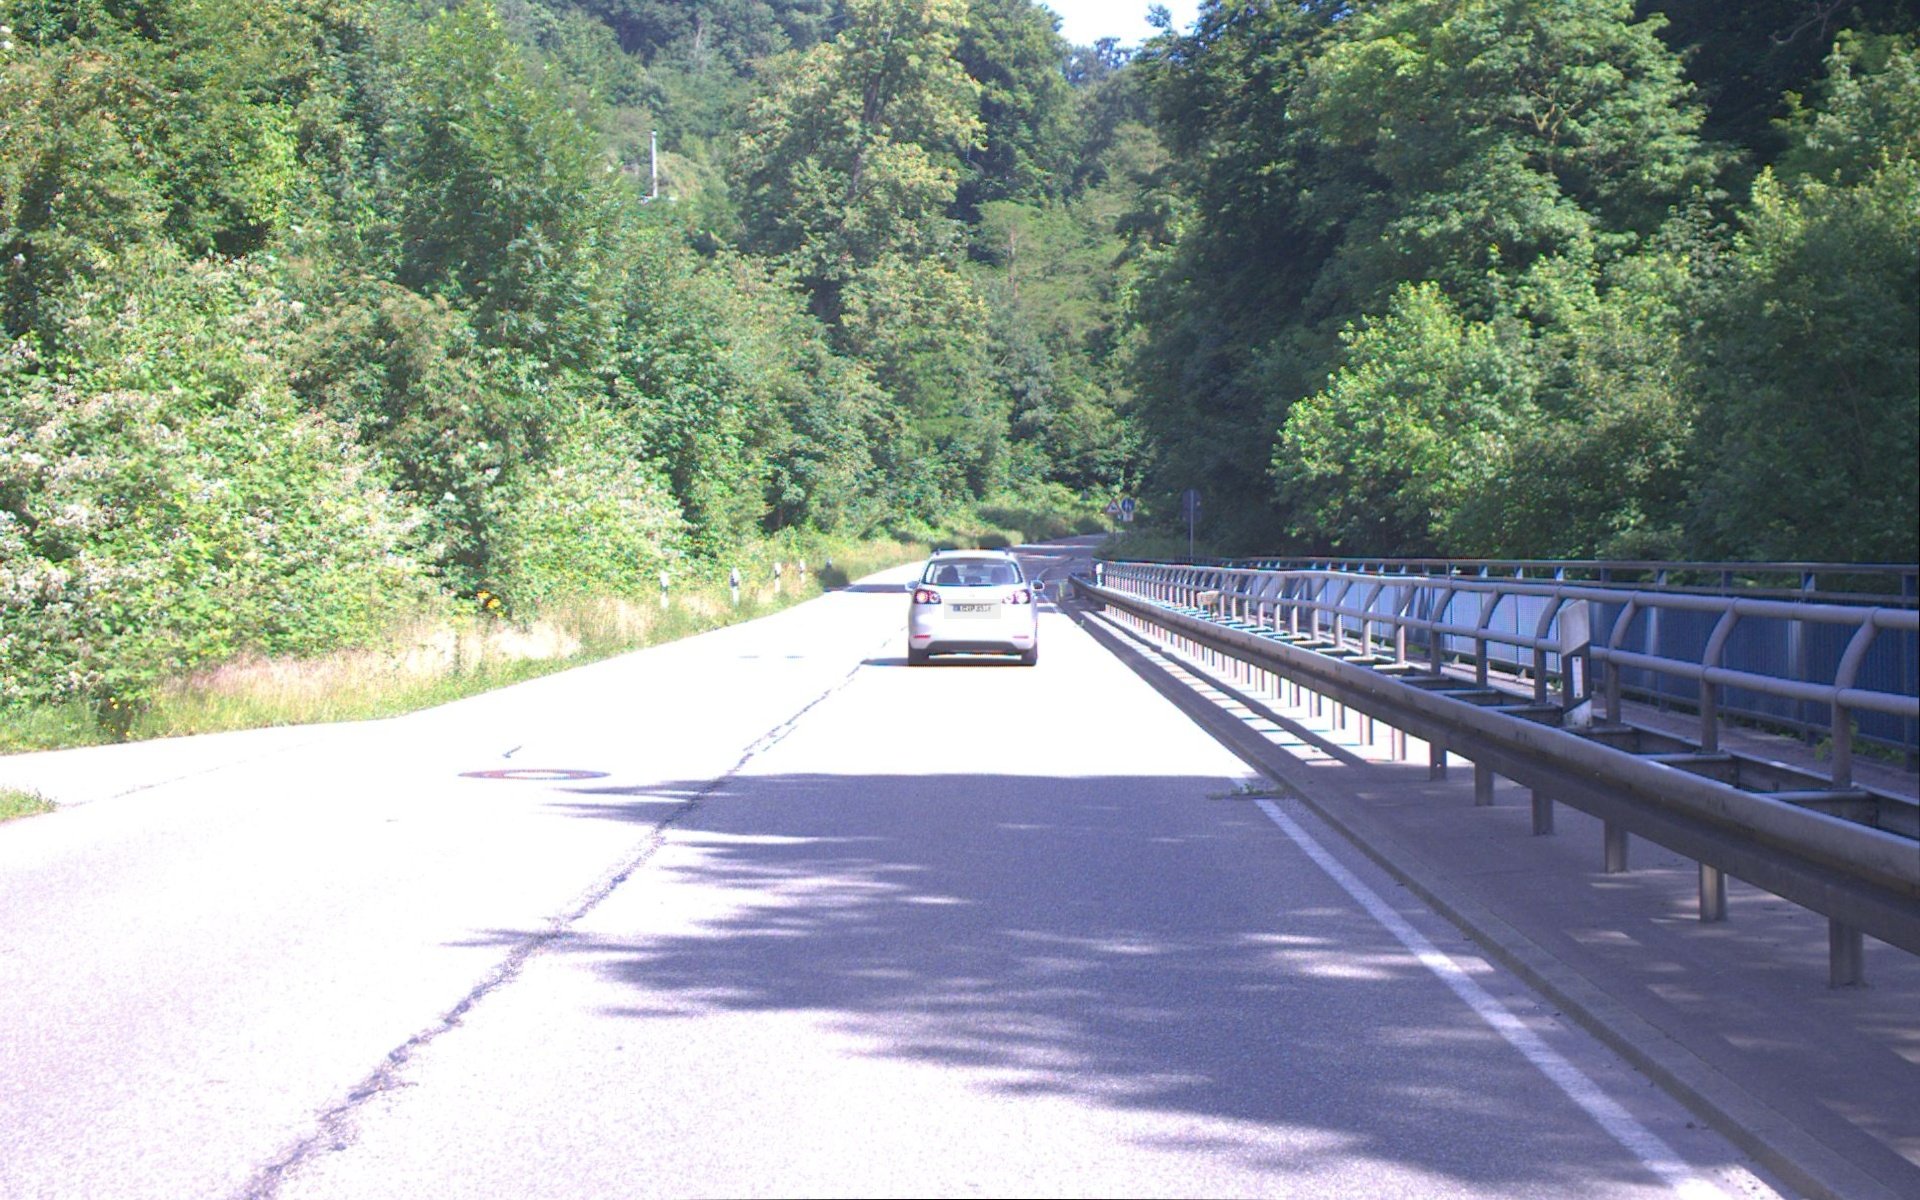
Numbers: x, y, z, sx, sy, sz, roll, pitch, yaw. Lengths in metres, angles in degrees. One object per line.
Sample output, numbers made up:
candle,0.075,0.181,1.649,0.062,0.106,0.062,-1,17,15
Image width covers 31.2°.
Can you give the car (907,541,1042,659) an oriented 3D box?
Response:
car,0.224,-0.040,47.265,1.751,1.514,4.159,0,1,1
